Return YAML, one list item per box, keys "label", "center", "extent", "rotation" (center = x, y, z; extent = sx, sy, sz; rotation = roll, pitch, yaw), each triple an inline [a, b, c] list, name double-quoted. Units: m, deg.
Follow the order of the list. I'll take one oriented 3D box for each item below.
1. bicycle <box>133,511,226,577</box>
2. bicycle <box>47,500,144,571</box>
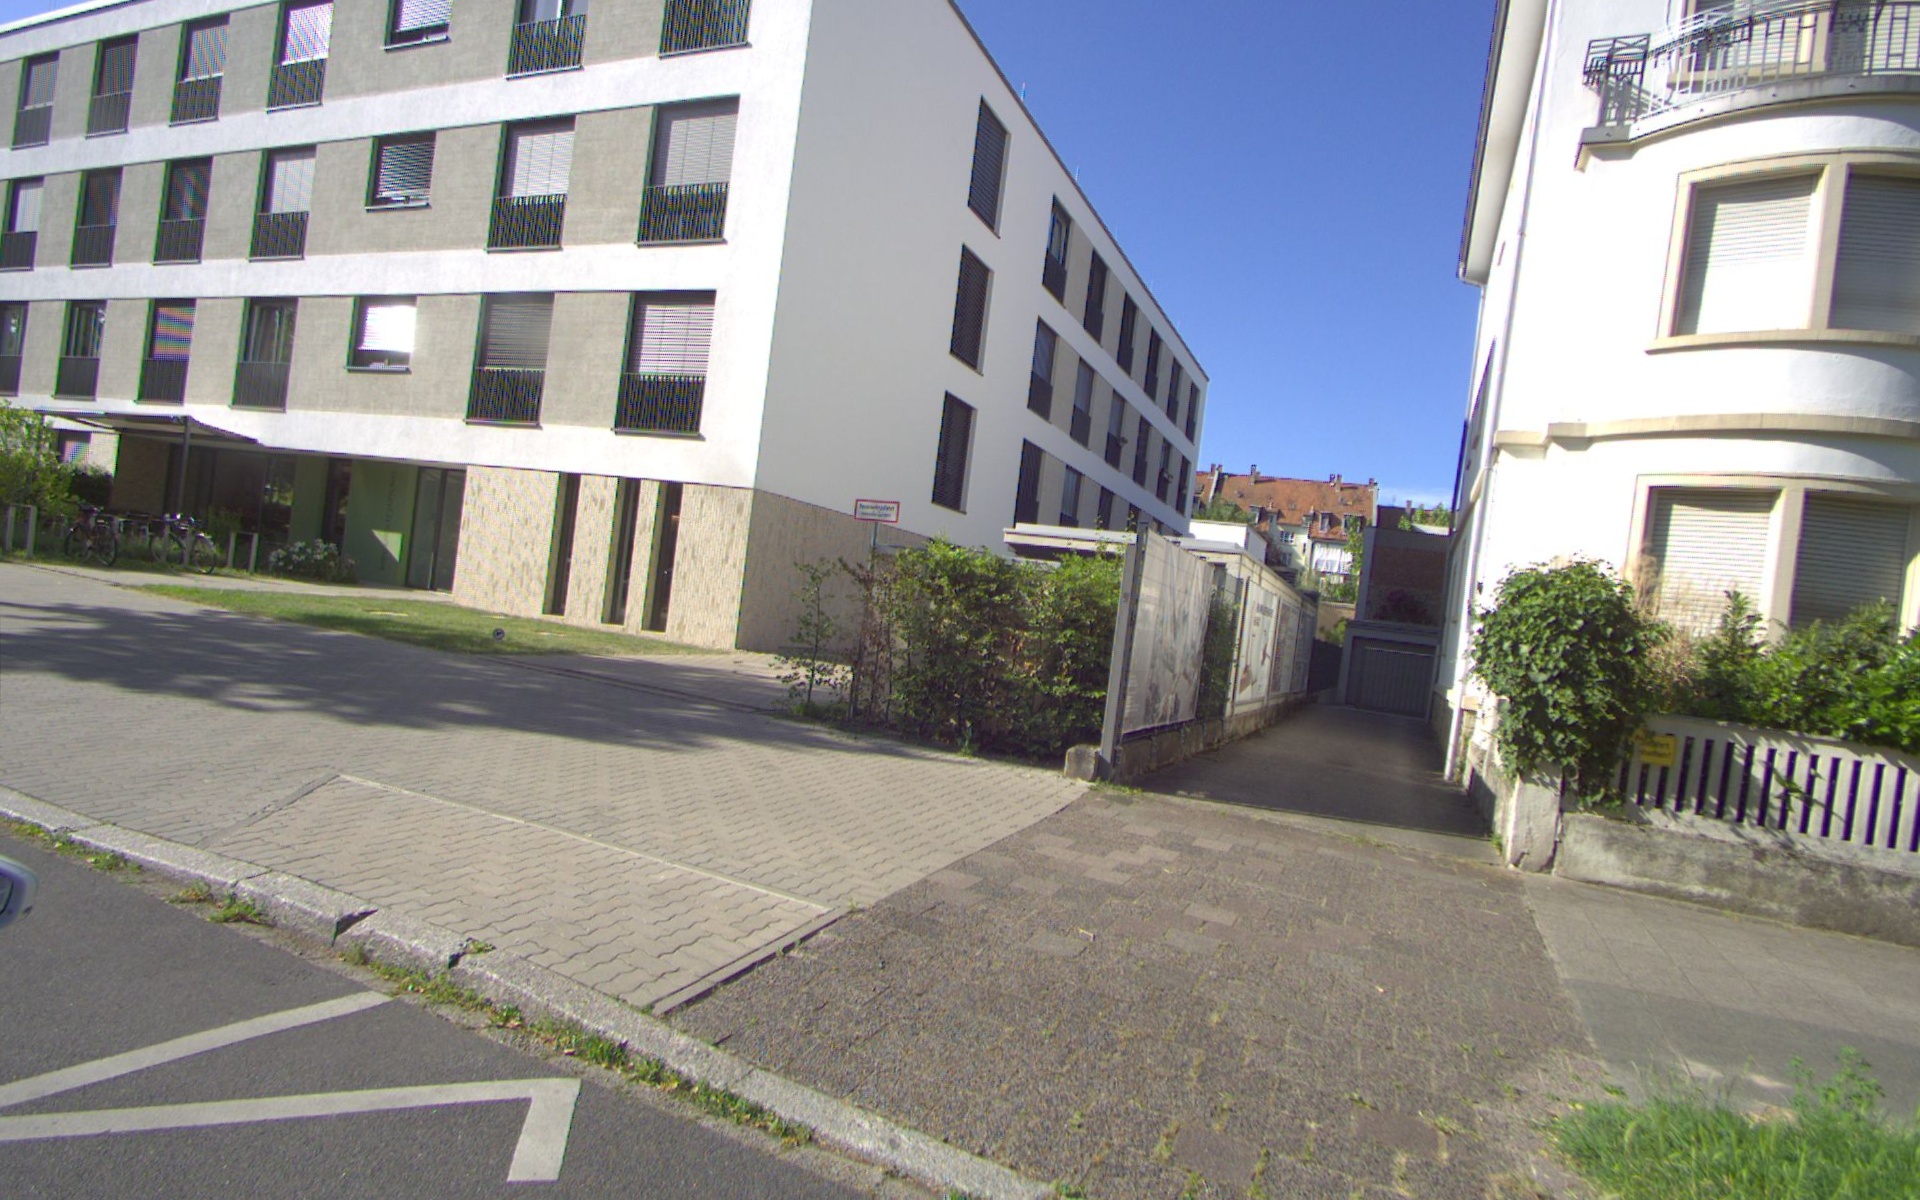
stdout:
- label: "bicycle"
  center: [-14.968, -1.076, 19.283]
  extent: [1.747, 1.068, 0.547]
  rotation: [7, 1, 22]
- label: "bicycle"
  center: [-15.488, -1.151, 18.021]
  extent: [1.660, 1.068, 0.547]
  rotation: [7, 1, 22]
